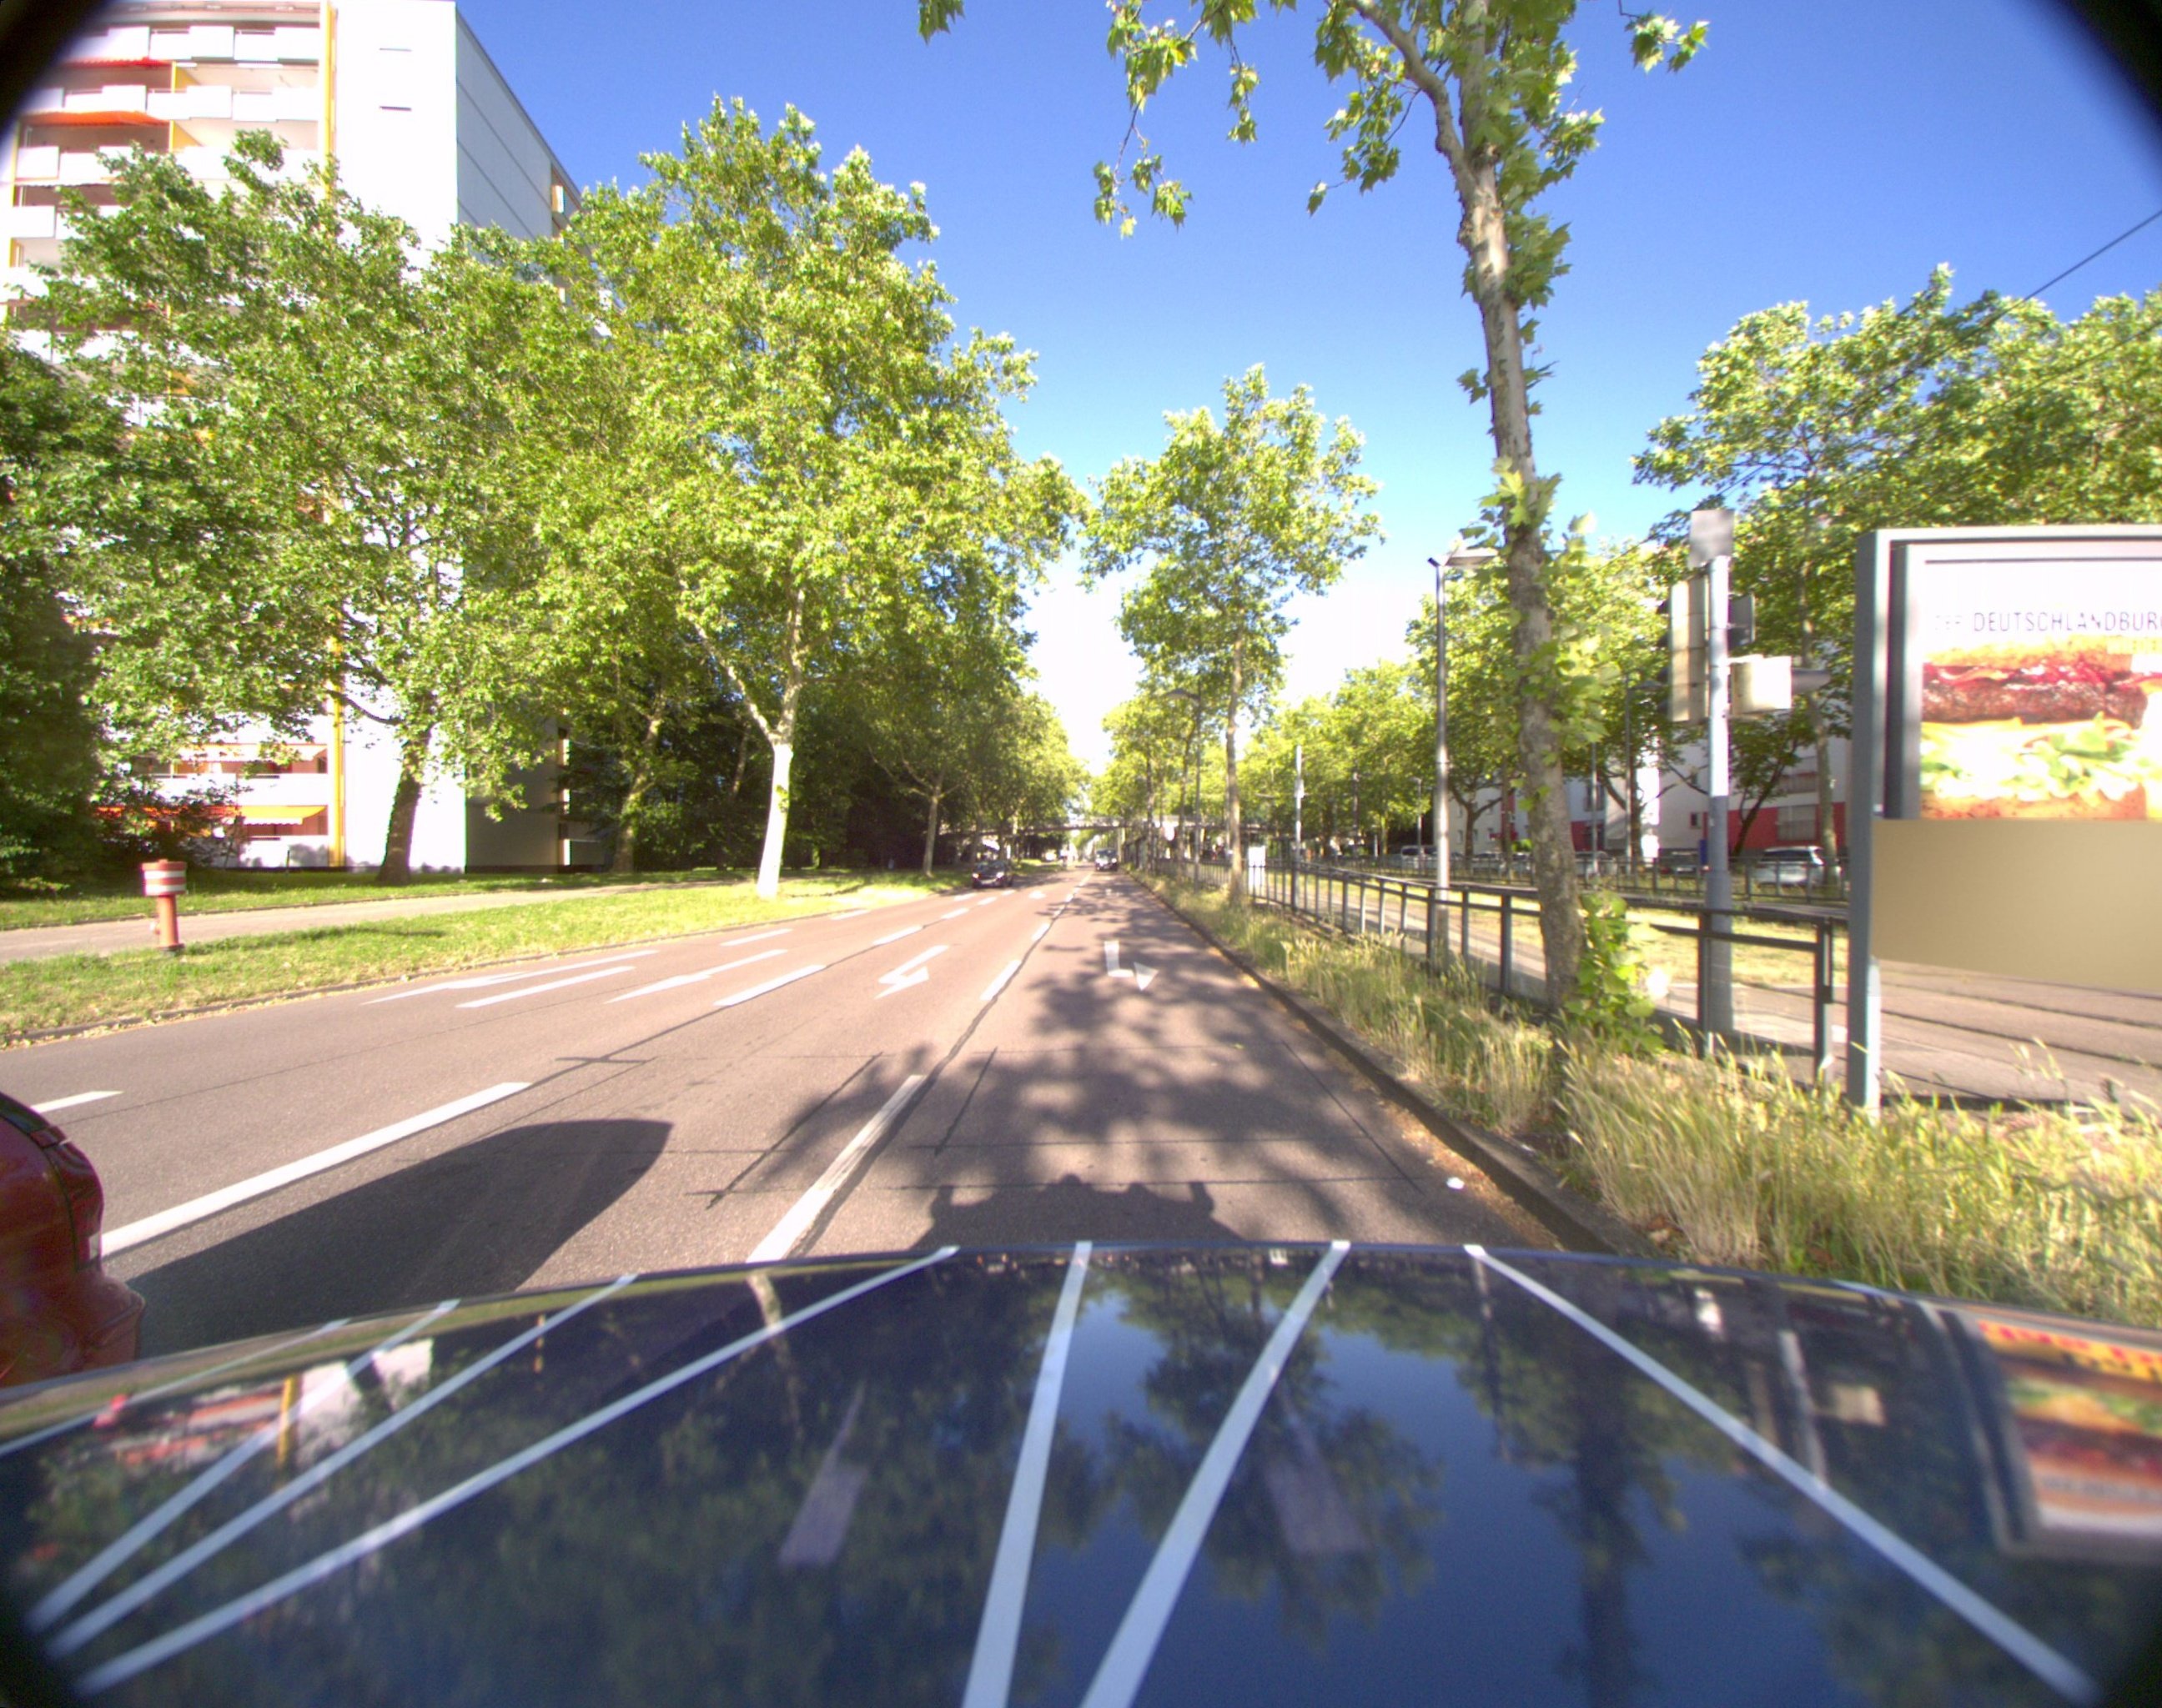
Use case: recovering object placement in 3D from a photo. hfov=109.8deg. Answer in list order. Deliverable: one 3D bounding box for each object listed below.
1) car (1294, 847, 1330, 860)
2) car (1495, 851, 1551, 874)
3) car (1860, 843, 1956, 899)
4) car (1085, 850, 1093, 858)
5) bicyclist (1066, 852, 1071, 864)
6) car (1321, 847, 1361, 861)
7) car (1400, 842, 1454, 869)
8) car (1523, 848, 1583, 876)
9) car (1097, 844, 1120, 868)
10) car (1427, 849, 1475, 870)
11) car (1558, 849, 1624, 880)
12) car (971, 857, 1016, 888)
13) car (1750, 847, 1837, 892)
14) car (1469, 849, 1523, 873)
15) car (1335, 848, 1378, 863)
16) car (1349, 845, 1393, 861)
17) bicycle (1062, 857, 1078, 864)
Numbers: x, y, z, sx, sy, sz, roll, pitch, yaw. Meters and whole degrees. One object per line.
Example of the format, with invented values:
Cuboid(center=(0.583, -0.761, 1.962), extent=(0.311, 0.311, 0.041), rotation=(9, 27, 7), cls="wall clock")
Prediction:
Cuboid(center=(27.195, -0.058, 89.420), extent=(4.376, 1.367, 1.919), rotation=(-1, 1, -39), cls="car")
Cuboid(center=(26.195, 0.483, 44.952), extent=(3.689, 1.234, 1.645), rotation=(-1, 1, -39), cls="car")
Cuboid(center=(25.013, 0.463, 22.952), extent=(3.689, 1.558, 1.683), rotation=(-1, 1, -38), cls="car")
Cuboid(center=(2.166, 0.066, 208.972), extent=(2.040, 1.995, 5.113), rotation=(-1, 0, 1), cls="car")
Cuboid(center=(-1.641, 0.536, 100.255), extent=(0.709, 1.479, 0.610), rotation=(-1, 1, -3), cls="bicyclist")
Cuboid(center=(27.237, 0.026, 79.567), extent=(4.376, 1.367, 1.919), rotation=(-1, 1, -39), cls="car")
Cuboid(center=(25.955, 0.086, 56.984), extent=(4.376, 1.873, 1.919), rotation=(-1, 1, -39), cls="car")
Cuboid(center=(25.806, 0.431, 41.510), extent=(3.689, 1.440, 1.645), rotation=(-1, 1, -39), cls="car")
Cuboid(center=(2.613, 0.180, 72.390), extent=(2.040, 2.102, 5.113), rotation=(-1, 0, 1), cls="car")
Cuboid(center=(26.240, 0.349, 53.890), extent=(3.689, 1.388, 1.645), rotation=(-1, 1, -39), cls="car")
Cuboid(center=(25.325, 0.502, 37.682), extent=(3.689, 1.384, 1.645), rotation=(-1, 1, -38), cls="car")
Cuboid(center=(-4.430, 0.903, 39.006), extent=(1.750, 1.460, 3.892), rotation=(-1, 0, 1), cls="car")
Cuboid(center=(25.051, 0.496, 26.678), extent=(3.689, 1.425, 1.683), rotation=(-1, 1, -38), cls="car")
Cuboid(center=(25.952, 0.416, 47.487), extent=(3.689, 1.440, 1.645), rotation=(-1, 1, -39), cls="car")
Cuboid(center=(26.582, 0.100, 73.270), extent=(4.376, 1.367, 1.919), rotation=(-1, 1, -39), cls="car")
Cuboid(center=(26.853, -0.078, 70.291), extent=(4.376, 1.367, 1.919), rotation=(-1, 1, -39), cls="car")
Cuboid(center=(-1.420, 0.867, 100.270), extent=(2.143, 0.959, 0.601), rotation=(-1, 1, -3), cls="bicycle")
